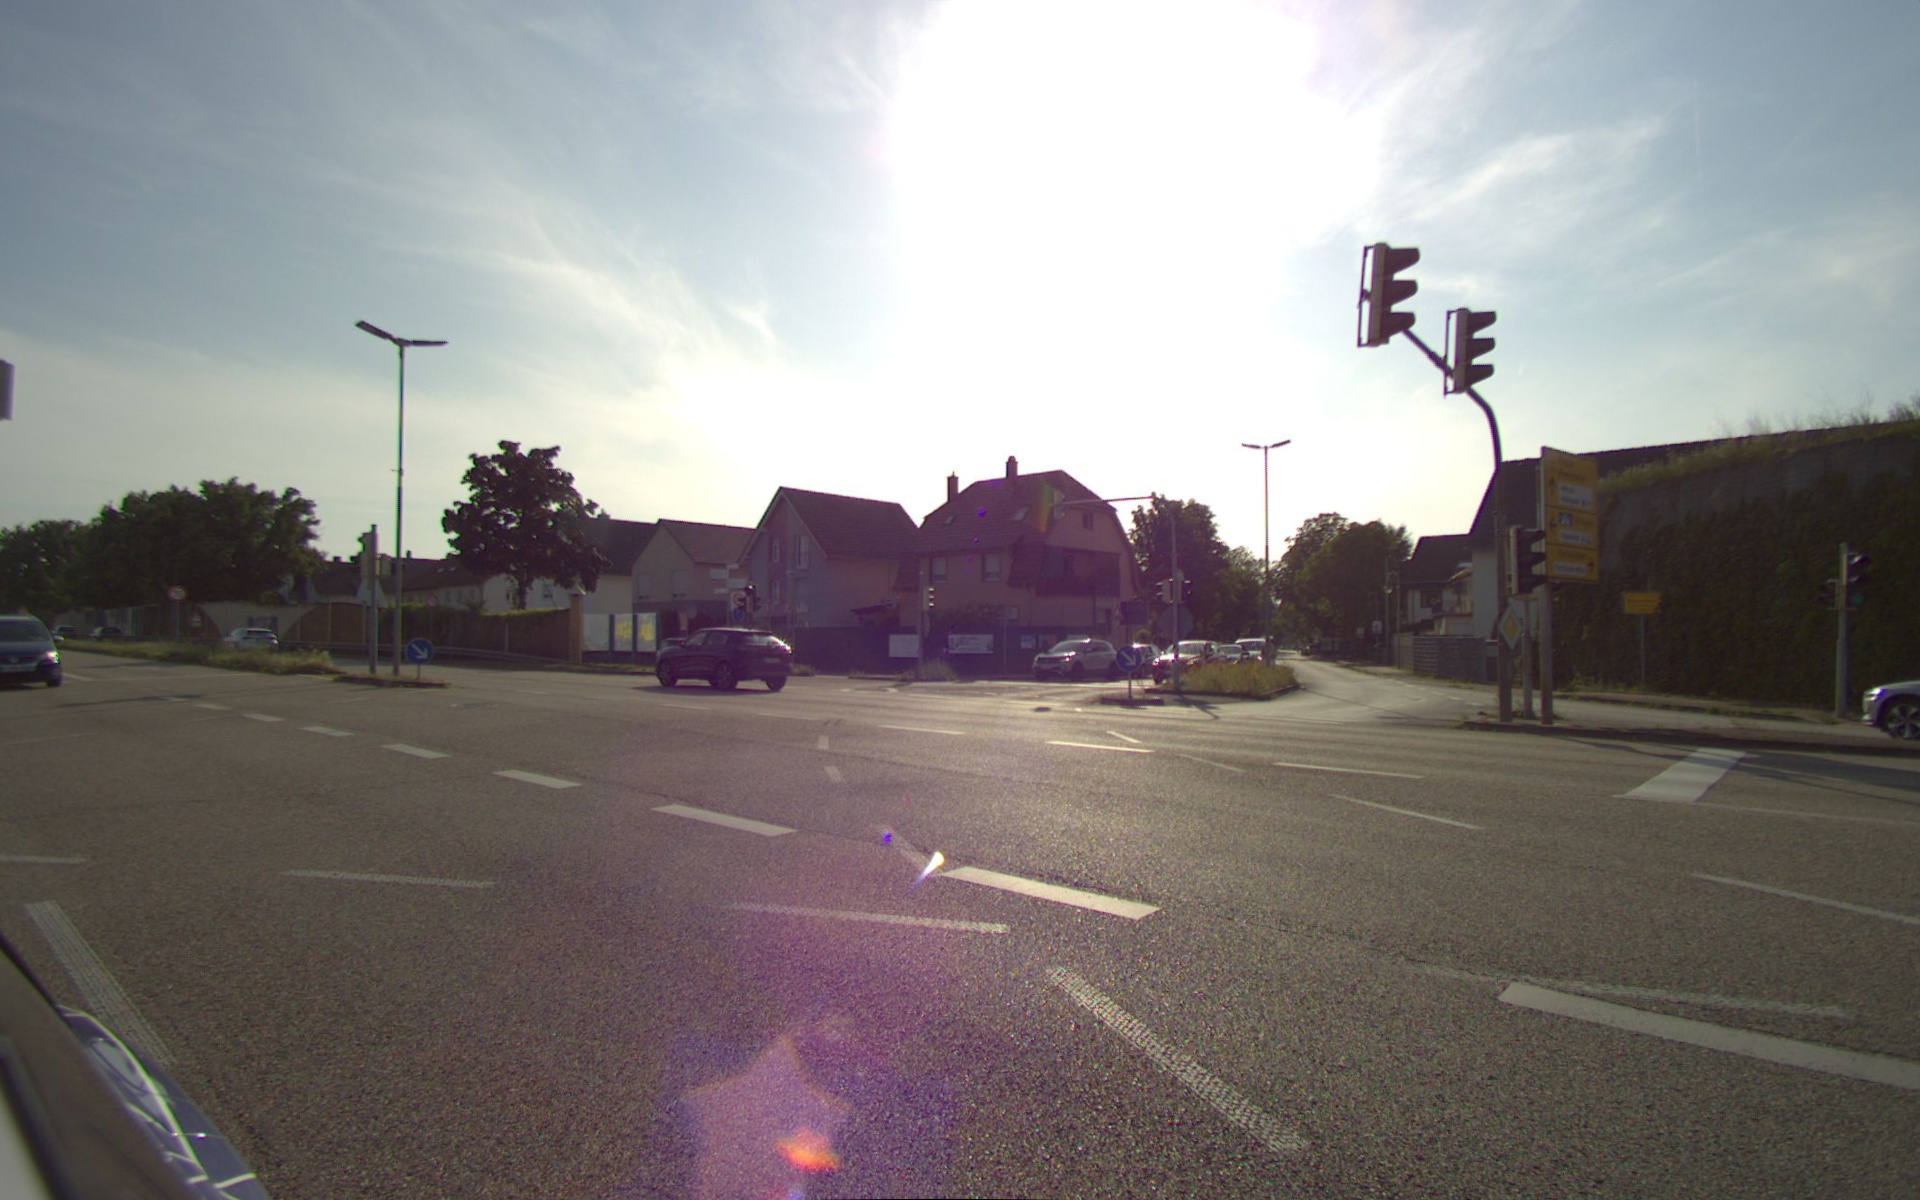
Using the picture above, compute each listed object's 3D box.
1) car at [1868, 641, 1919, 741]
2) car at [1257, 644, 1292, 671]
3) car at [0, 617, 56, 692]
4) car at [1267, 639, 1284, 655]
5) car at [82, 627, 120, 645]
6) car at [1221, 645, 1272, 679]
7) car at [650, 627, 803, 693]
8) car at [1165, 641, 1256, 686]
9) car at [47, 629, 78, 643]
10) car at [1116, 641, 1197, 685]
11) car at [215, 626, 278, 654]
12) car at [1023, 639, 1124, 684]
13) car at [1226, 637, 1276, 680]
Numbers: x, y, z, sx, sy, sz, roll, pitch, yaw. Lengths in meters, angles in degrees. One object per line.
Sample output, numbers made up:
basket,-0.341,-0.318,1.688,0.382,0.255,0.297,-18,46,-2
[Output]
car,16.693,1.439,14.734,1.922,1.509,4.777,-1,0,-25
car,19.316,3.497,62.121,1.775,1.497,3.400,-1,0,22
car,-22.466,1.215,23.466,4.681,1.634,1.754,-1,-1,42
car,32.868,4.922,105.572,1.579,1.497,3.407,-1,0,16
car,-72.563,3.043,85.459,4.551,1.394,1.770,-1,-1,41
car,11.701,2.482,41.213,1.744,1.186,3.589,-1,0,20
car,-6.064,1.500,26.066,4.246,1.553,1.713,-1,-4,43
car,8.667,2.210,34.798,1.638,1.424,4.254,-1,-4,35
car,-89.833,3.592,101.306,3.995,1.364,1.718,-1,-1,39
car,8.137,2.538,41.717,1.821,1.576,3.952,-1,-1,35
car,-39.202,2.175,55.536,4.732,1.473,1.735,-1,-4,41
car,4.275,2.287,37.605,1.757,1.575,3.944,-1,-4,42
car,13.765,2.710,47.749,1.985,1.829,4.154,-1,0,20
